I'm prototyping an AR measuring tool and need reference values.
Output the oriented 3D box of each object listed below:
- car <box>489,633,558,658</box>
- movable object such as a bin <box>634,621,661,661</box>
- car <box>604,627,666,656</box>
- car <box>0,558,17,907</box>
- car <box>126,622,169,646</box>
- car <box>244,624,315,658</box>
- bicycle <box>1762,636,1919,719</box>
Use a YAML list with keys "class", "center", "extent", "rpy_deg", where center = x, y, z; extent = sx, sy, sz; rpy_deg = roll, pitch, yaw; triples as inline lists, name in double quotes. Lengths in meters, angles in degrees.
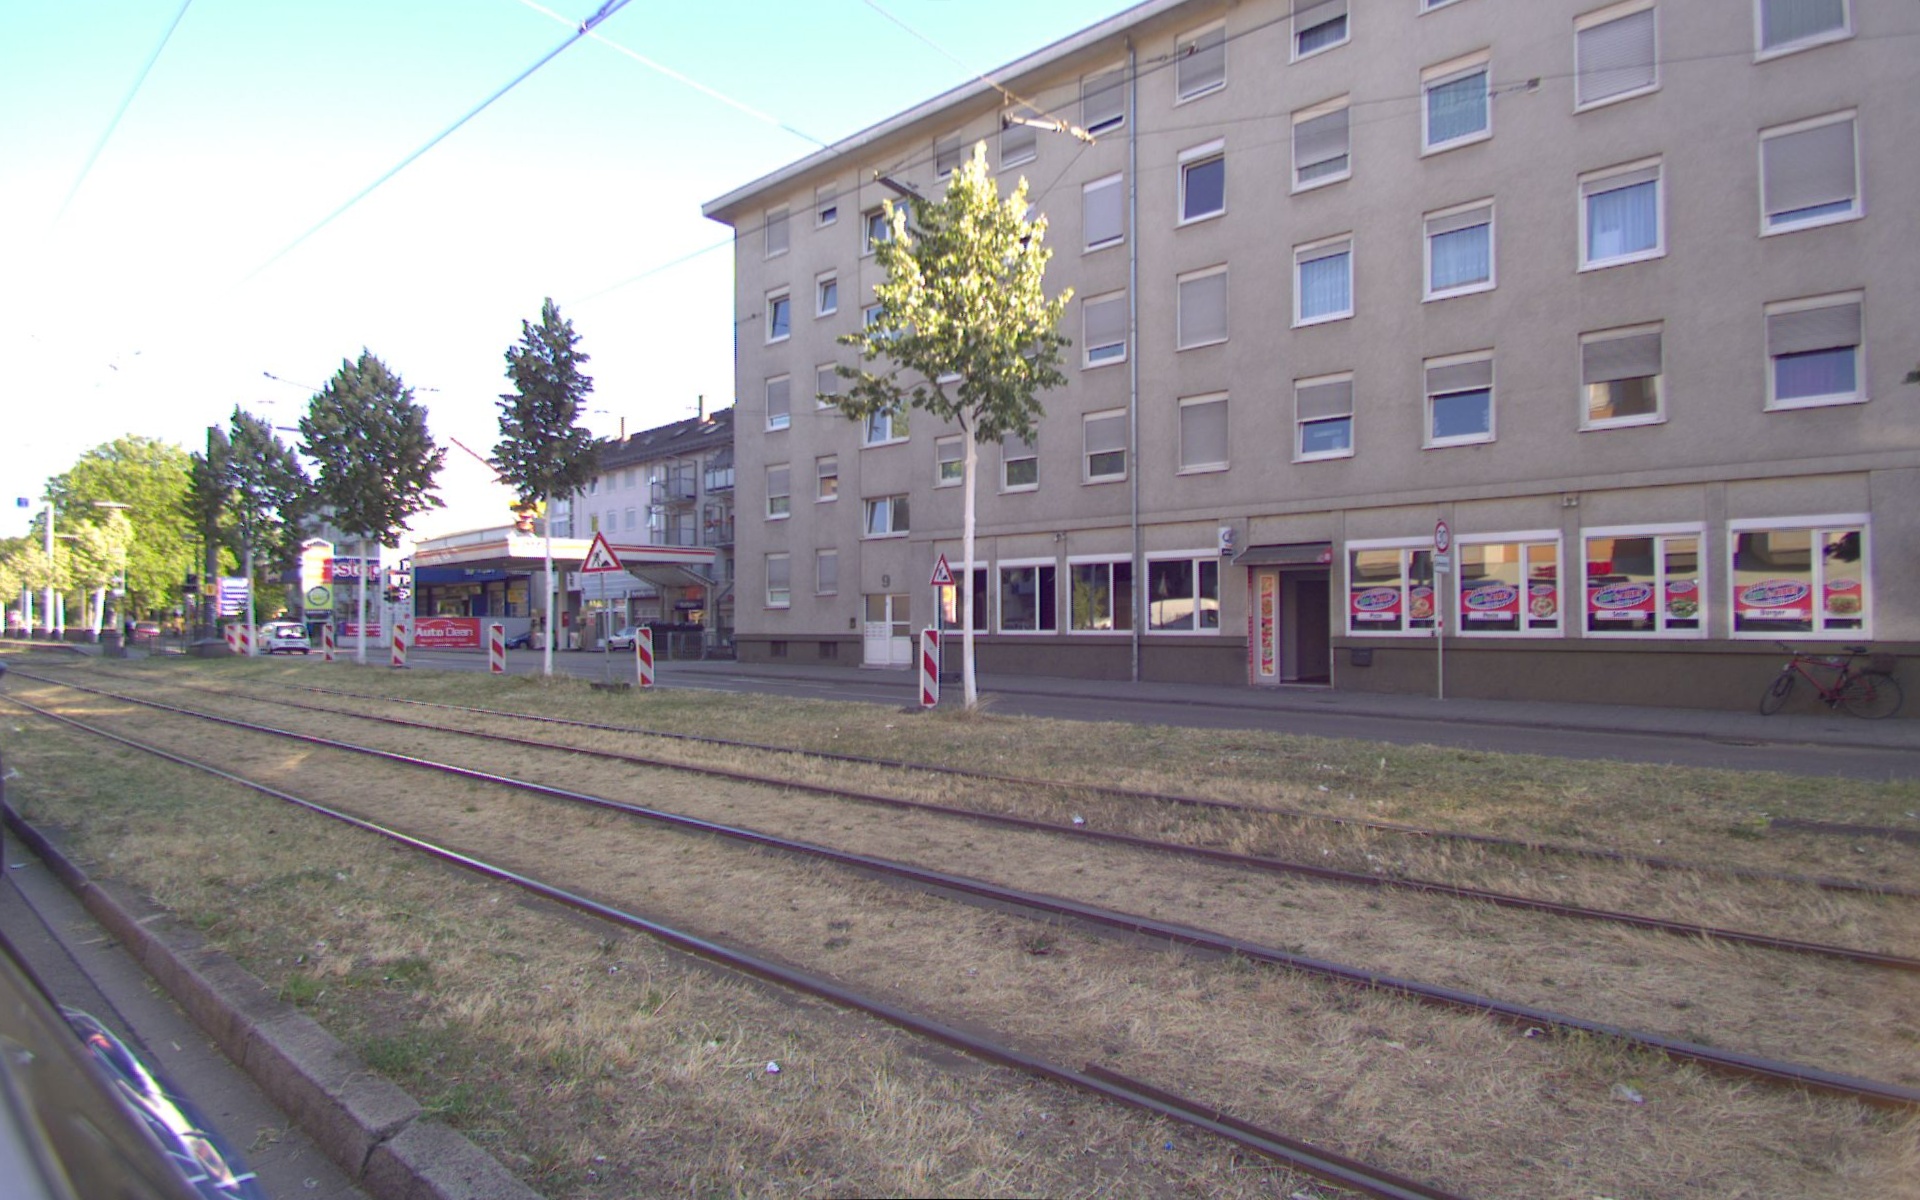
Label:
- class: "car"
  center: [-28.444, 2.930, 65.990]
  extent: [1.818, 1.535, 3.752]
  rpy_deg: [-2, -2, 43]
- class: "movable object such as a bin"
  center: [-11.333, 1.476, 36.708]
  extent: [0.748, 1.411, 0.656]
  rpy_deg: [-2, -2, 39]
- class: "car"
  center: [-19.202, 2.439, 59.757]
  extent: [3.829, 1.535, 1.792]
  rpy_deg: [-2, 1, 43]
- class: "car"
  center: [-6.609, 0.680, 5.397]
  extent: [4.083, 1.628, 1.886]
  rpy_deg: [-2, 0, 41]
- class: "car"
  center: [-55.364, 2.283, 68.910]
  extent: [1.791, 1.572, 4.938]
  rpy_deg: [1, -1, -45]
- class: "car"
  center: [-31.968, 1.918, 47.506]
  extent: [3.826, 1.523, 1.793]
  rpy_deg: [-1, -2, 40]
- class: "bicycle"
  center: [12.743, 1.085, 14.616]
  extent: [1.777, 1.123, 0.739]
  rpy_deg: [-2, -2, 41]
